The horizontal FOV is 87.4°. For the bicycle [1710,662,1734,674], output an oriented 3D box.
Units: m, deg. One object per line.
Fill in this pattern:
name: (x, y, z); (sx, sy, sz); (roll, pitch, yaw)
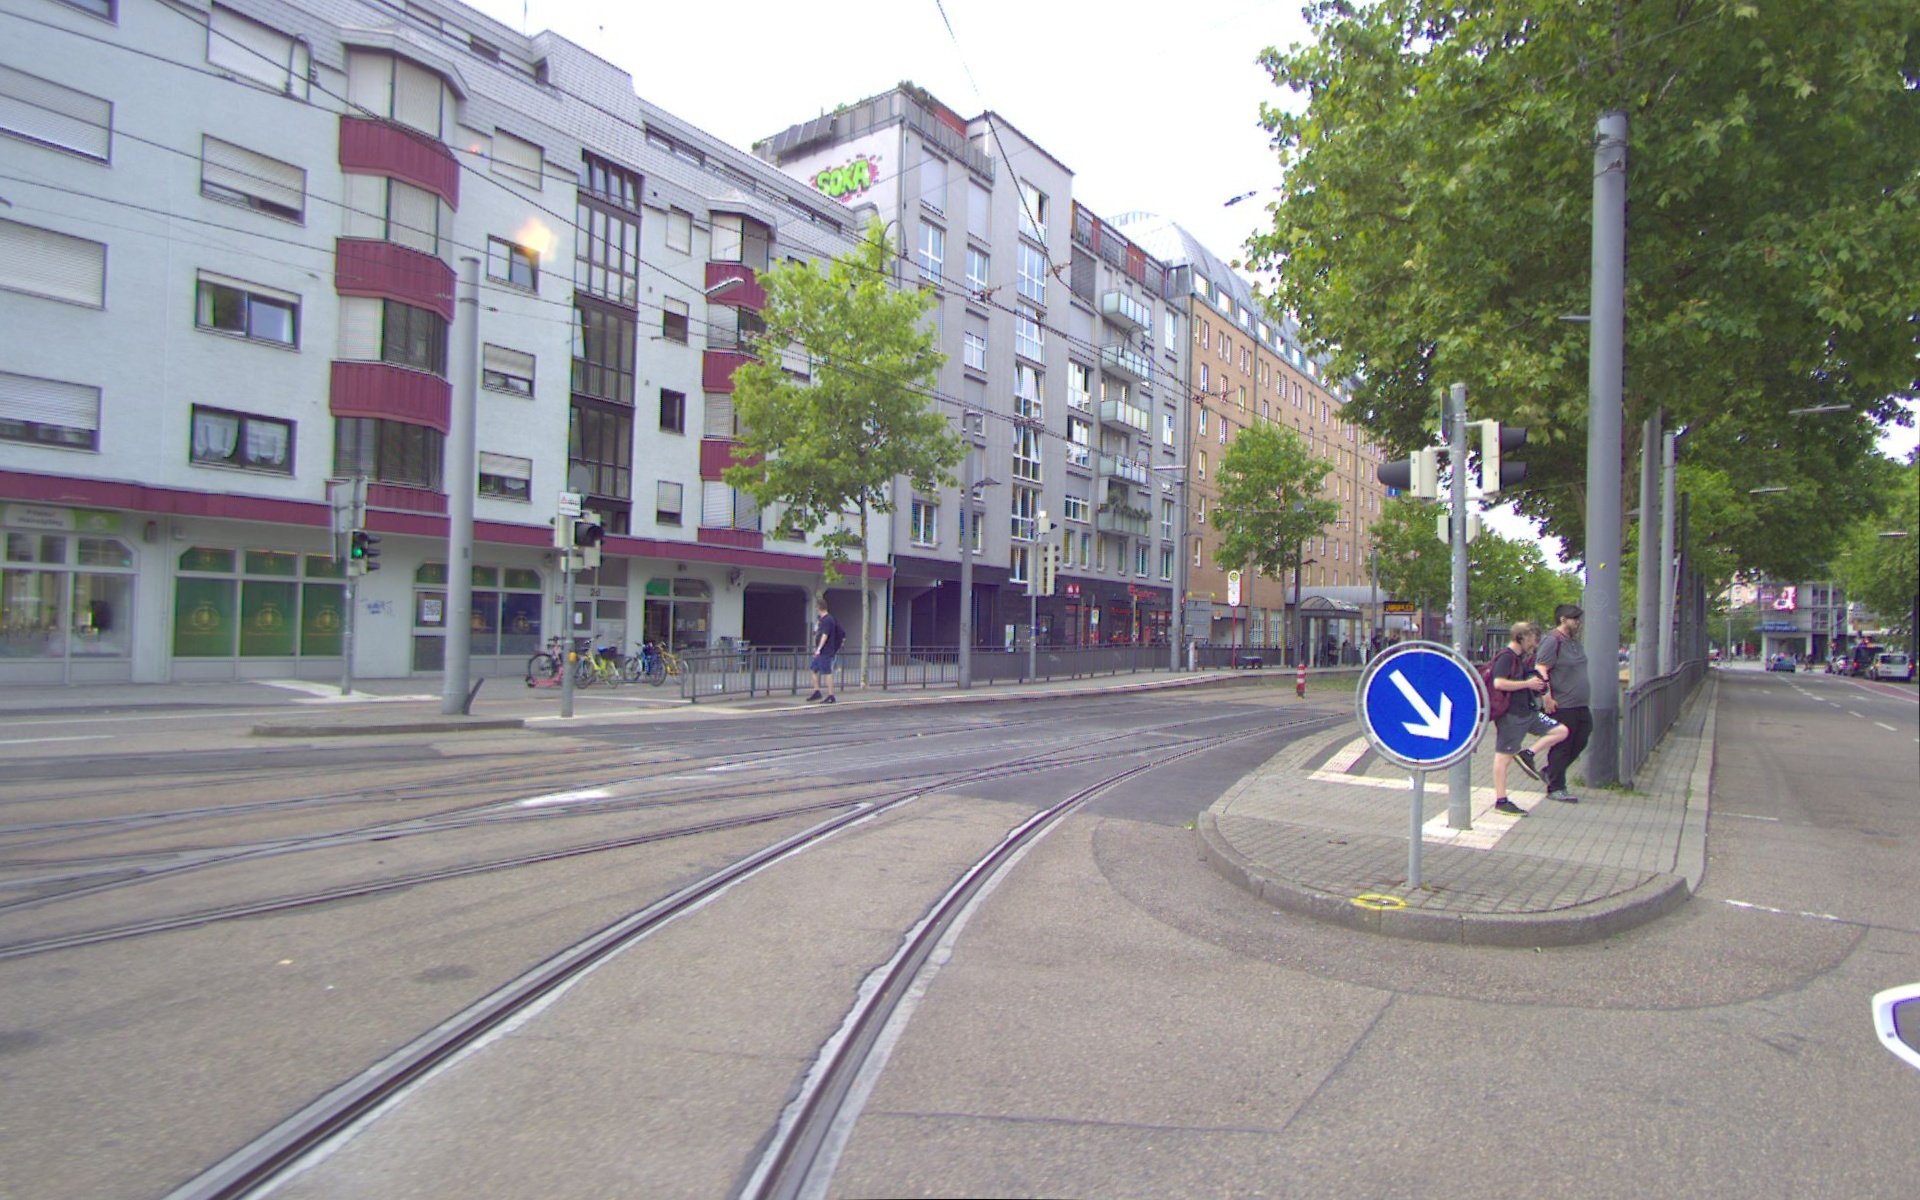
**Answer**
bicycle: (77.627, 6.953, 102.349); (1.992, 1.100, 0.667); (0, -3, 38)

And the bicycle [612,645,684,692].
bicycle: (-8.018, 1.739, 25.793); (1.851, 1.031, 0.627); (4, -1, 31)

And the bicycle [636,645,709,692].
bicycle: (-7.553, 1.781, 26.340); (1.851, 1.031, 0.709); (4, -1, 31)

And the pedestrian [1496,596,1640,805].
pedestrian: (5.786, 0.938, 9.597); (0.824, 1.880, 0.845); (2, -2, -4)

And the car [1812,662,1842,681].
car: (76.669, 6.347, 88.882); (1.812, 1.540, 4.159); (0, -3, 38)

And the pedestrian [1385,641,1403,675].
pedestrian: (25.090, 3.352, 58.020); (0.804, 1.911, 0.783); (0, -3, 34)

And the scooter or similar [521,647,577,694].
scooter or similar: (-9.606, 1.643, 23.480); (1.151, 1.001, 0.351); (4, -2, 14)

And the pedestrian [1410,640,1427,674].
pedestrian: (27.499, 3.425, 60.228); (0.804, 2.019, 0.783); (0, -3, 35)

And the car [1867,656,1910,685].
car: (64.670, 4.901, 70.021); (1.867, 1.928, 4.113); (0, -3, 38)

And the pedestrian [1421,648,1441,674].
pedestrian: (30.384, 3.933, 64.803); (0.981, 1.621, 0.849); (0, -3, 35)

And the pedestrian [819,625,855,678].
pedestrian: (-4.167, 1.740, 33.970); (0.748, 1.757, 0.893); (0, -2, 40)

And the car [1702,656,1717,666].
car: (120.686, 9.851, 161.726); (1.812, 1.540, 4.159); (0, -3, 38)

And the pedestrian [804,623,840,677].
pedestrian: (-4.714, 1.702, 34.283); (0.748, 1.798, 0.893); (0, -2, 40)

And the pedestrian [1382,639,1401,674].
pedestrian: (23.885, 3.125, 55.630); (0.804, 1.911, 0.783); (0, -3, 34)

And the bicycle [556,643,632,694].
bicycle: (-8.924, 1.651, 24.446); (2.147, 1.031, 0.625); (4, -1, 38)

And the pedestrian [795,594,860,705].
pedestrian: (-2.391, 0.897, 18.128); (0.987, 1.923, 0.802); (2, -2, -17)

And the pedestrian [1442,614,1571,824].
pedestrian: (4.759, 0.991, 8.735); (0.755, 1.692, 0.933); (0, -3, 44)

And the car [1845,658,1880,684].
car: (72.121, 5.693, 80.314); (1.812, 1.928, 4.159); (0, -3, 38)

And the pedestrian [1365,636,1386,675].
pedestrian: (20.593, 2.745, 49.772); (0.804, 1.911, 0.783); (0, -3, 34)

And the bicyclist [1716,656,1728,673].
bicyclist: (77.641, 6.565, 102.360); (0.994, 1.682, 0.645); (0, -3, 38)

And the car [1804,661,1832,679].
car: (80.388, 6.566, 94.166); (1.812, 1.540, 4.159); (0, -3, 38)

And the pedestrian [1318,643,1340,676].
pedestrian: (17.544, 2.824, 47.794); (0.804, 1.557, 0.783); (0, -3, 34)

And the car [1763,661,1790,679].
car: (74.299, 6.351, 91.473); (1.812, 1.567, 4.198); (0, -3, 38)

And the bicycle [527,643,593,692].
bicycle: (-9.615, 1.608, 24.116); (1.701, 1.031, 0.478); (4, -1, 31)
